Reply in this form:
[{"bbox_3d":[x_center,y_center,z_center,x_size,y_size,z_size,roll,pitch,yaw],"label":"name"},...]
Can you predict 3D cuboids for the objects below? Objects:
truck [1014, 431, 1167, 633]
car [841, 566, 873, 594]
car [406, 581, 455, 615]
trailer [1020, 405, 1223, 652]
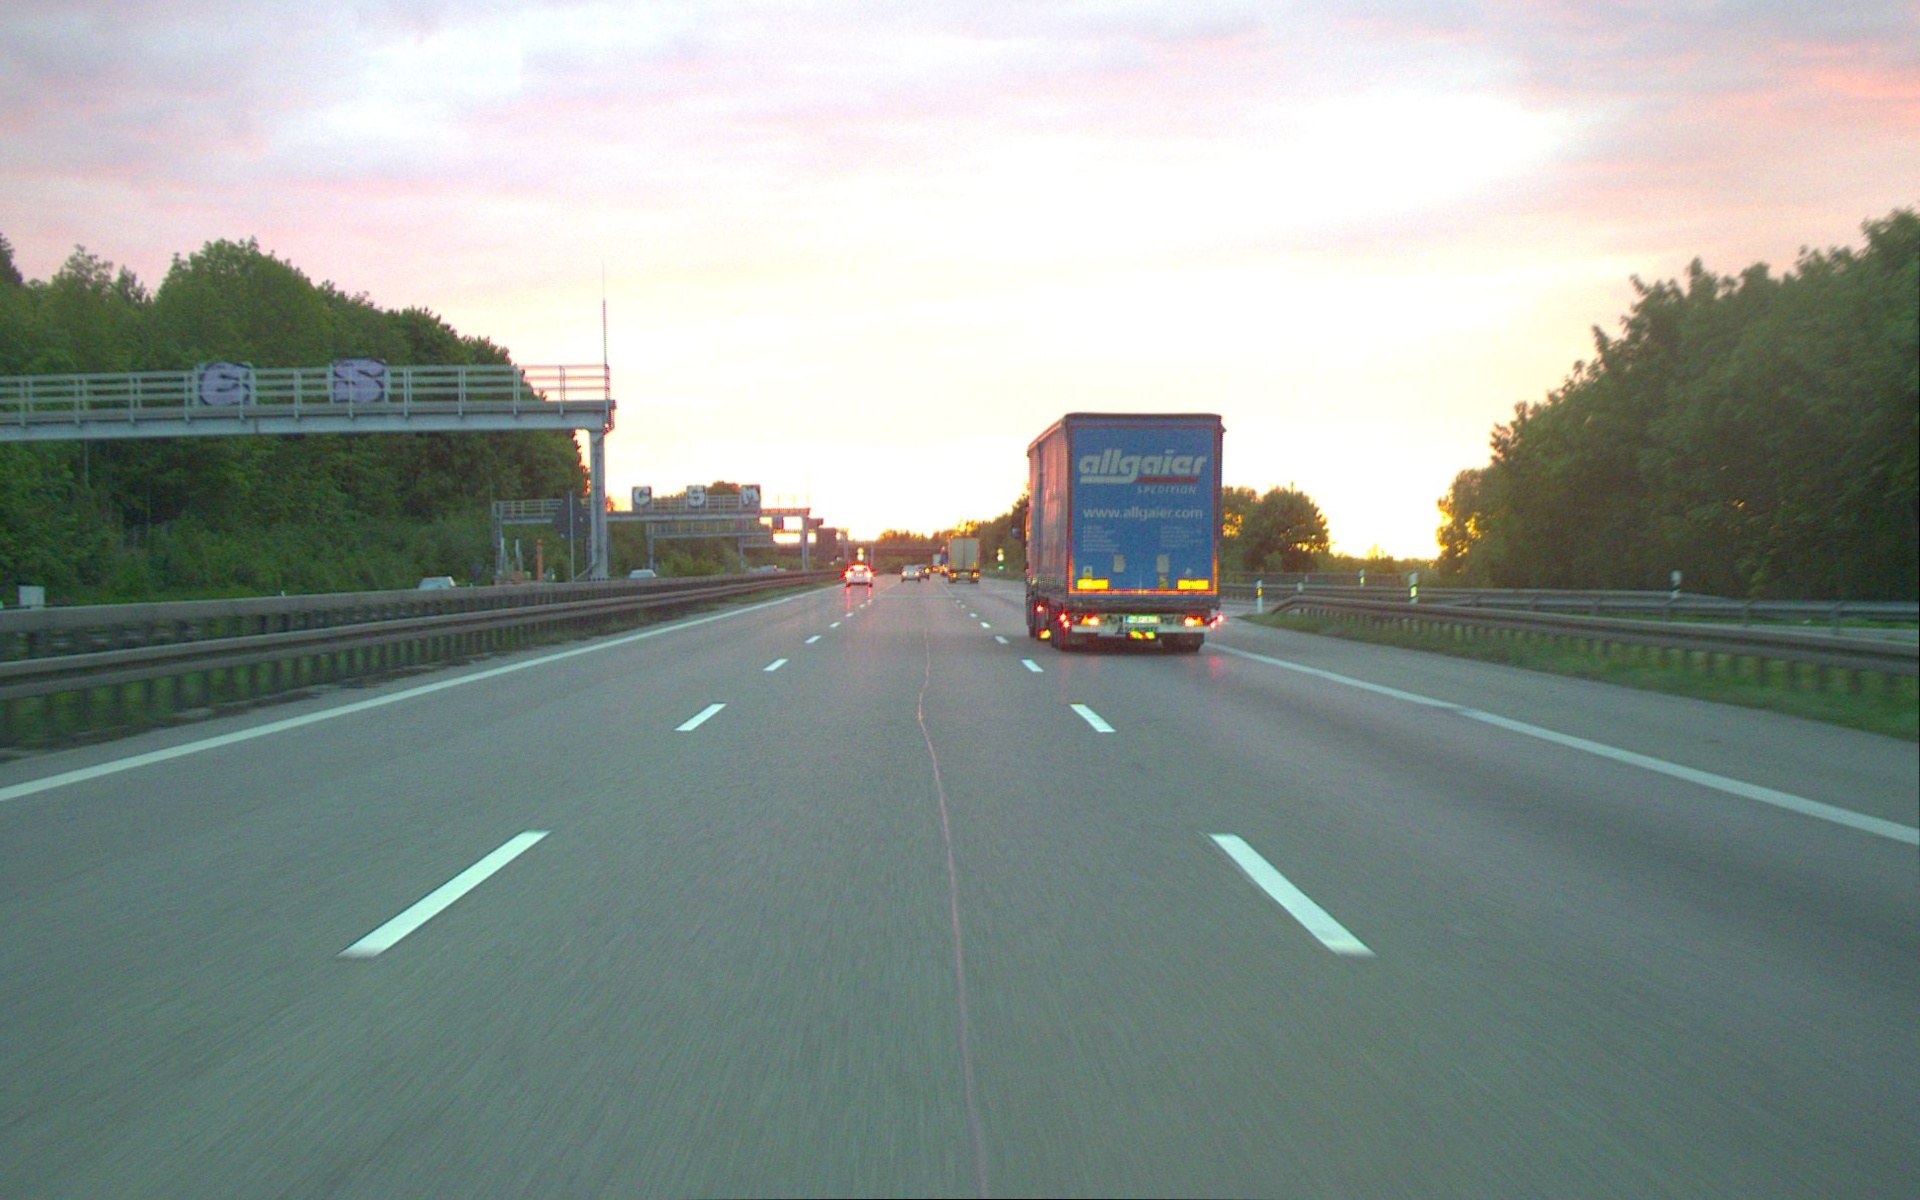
[{"bbox_3d":[2.629,-1.364,70.938,2.736,3.983,5.850,0,0,-2],"label":"truck"},{"bbox_3d":[-7.014,-1.391,233.724,2.013,1.743,3.903,-4,1,-1],"label":"car"},{"bbox_3d":[-22.754,-0.104,147.776,1.641,1.416,3.536,0,1,-1],"label":"car"},{"bbox_3d":[2.795,-1.243,63.826,2.771,4.072,13.740,0,0,-1],"label":"trailer"}]
